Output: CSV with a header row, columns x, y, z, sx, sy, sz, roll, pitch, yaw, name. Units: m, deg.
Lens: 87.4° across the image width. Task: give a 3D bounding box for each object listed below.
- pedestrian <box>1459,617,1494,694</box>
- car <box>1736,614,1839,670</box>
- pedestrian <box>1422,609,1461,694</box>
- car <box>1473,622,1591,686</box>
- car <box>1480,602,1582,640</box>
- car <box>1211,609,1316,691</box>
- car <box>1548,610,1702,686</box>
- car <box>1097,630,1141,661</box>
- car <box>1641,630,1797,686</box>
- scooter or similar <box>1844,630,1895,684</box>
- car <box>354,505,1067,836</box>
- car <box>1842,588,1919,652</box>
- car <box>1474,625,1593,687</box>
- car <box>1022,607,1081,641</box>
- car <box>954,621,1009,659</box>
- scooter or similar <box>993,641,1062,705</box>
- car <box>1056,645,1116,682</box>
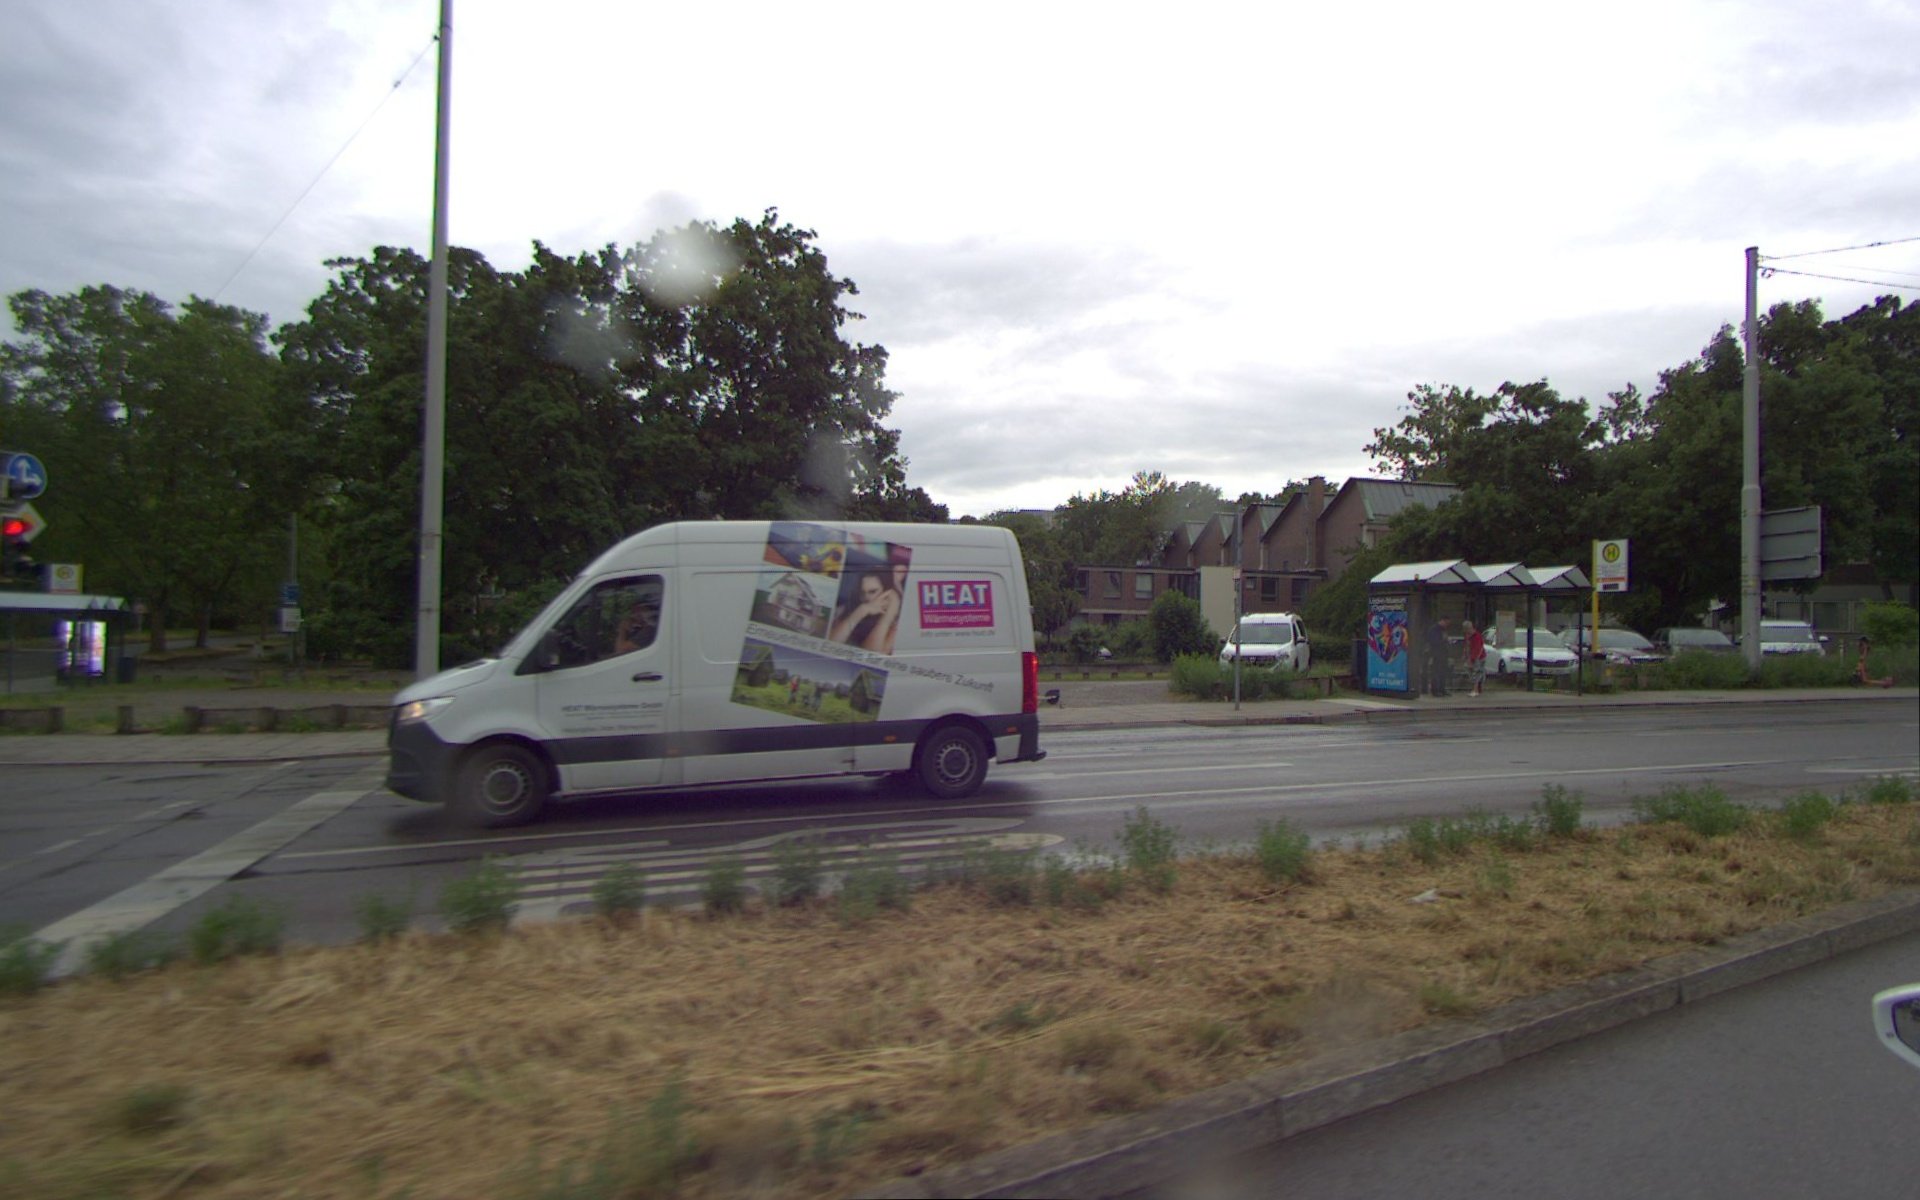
x,y,z,sx,sy,sz,roll,pitch,yaw,name
11.086,1.169,21.552,0.603,1.616,0.507,0,0,37,pedestrian
23.385,1.128,28.520,1.823,1.461,4.064,-1,-1,33,car
10.222,1.081,21.326,0.657,1.768,0.455,0,0,-27,pedestrian
14.623,1.319,25.898,1.797,1.434,4.001,0,0,17,car
44.701,1.635,78.705,6.357,2.855,3.587,0,0,-15,car
7.431,1.178,24.306,1.799,1.791,4.503,0,-2,25,car
17.147,1.177,26.131,1.797,1.792,4.002,0,0,8,car
11.337,3.237,71.806,1.963,2.040,3.994,0,0,-8,car
19.957,1.489,26.609,1.797,1.236,3.501,0,0,8,car
22.478,1.398,24.826,0.960,1.283,0.458,0,0,-12,scooter or similar
-2.118,0.605,9.625,5.944,2.527,2.057,0,-3,-19,car
28.021,0.643,29.975,4.039,1.765,1.834,2,-3,-38,car
14.649,1.408,25.883,1.817,1.461,4.077,0,-2,18,car
5.882,1.516,65.391,2.250,2.049,5.063,0,0,-15,car
1.309,2.533,64.904,2.250,2.207,5.063,0,0,-15,car
1.318,1.417,19.611,1.229,1.183,0.552,0,0,22,scooter or similar
8.263,4.143,66.172,2.249,2.102,5.064,0,0,-14,car
